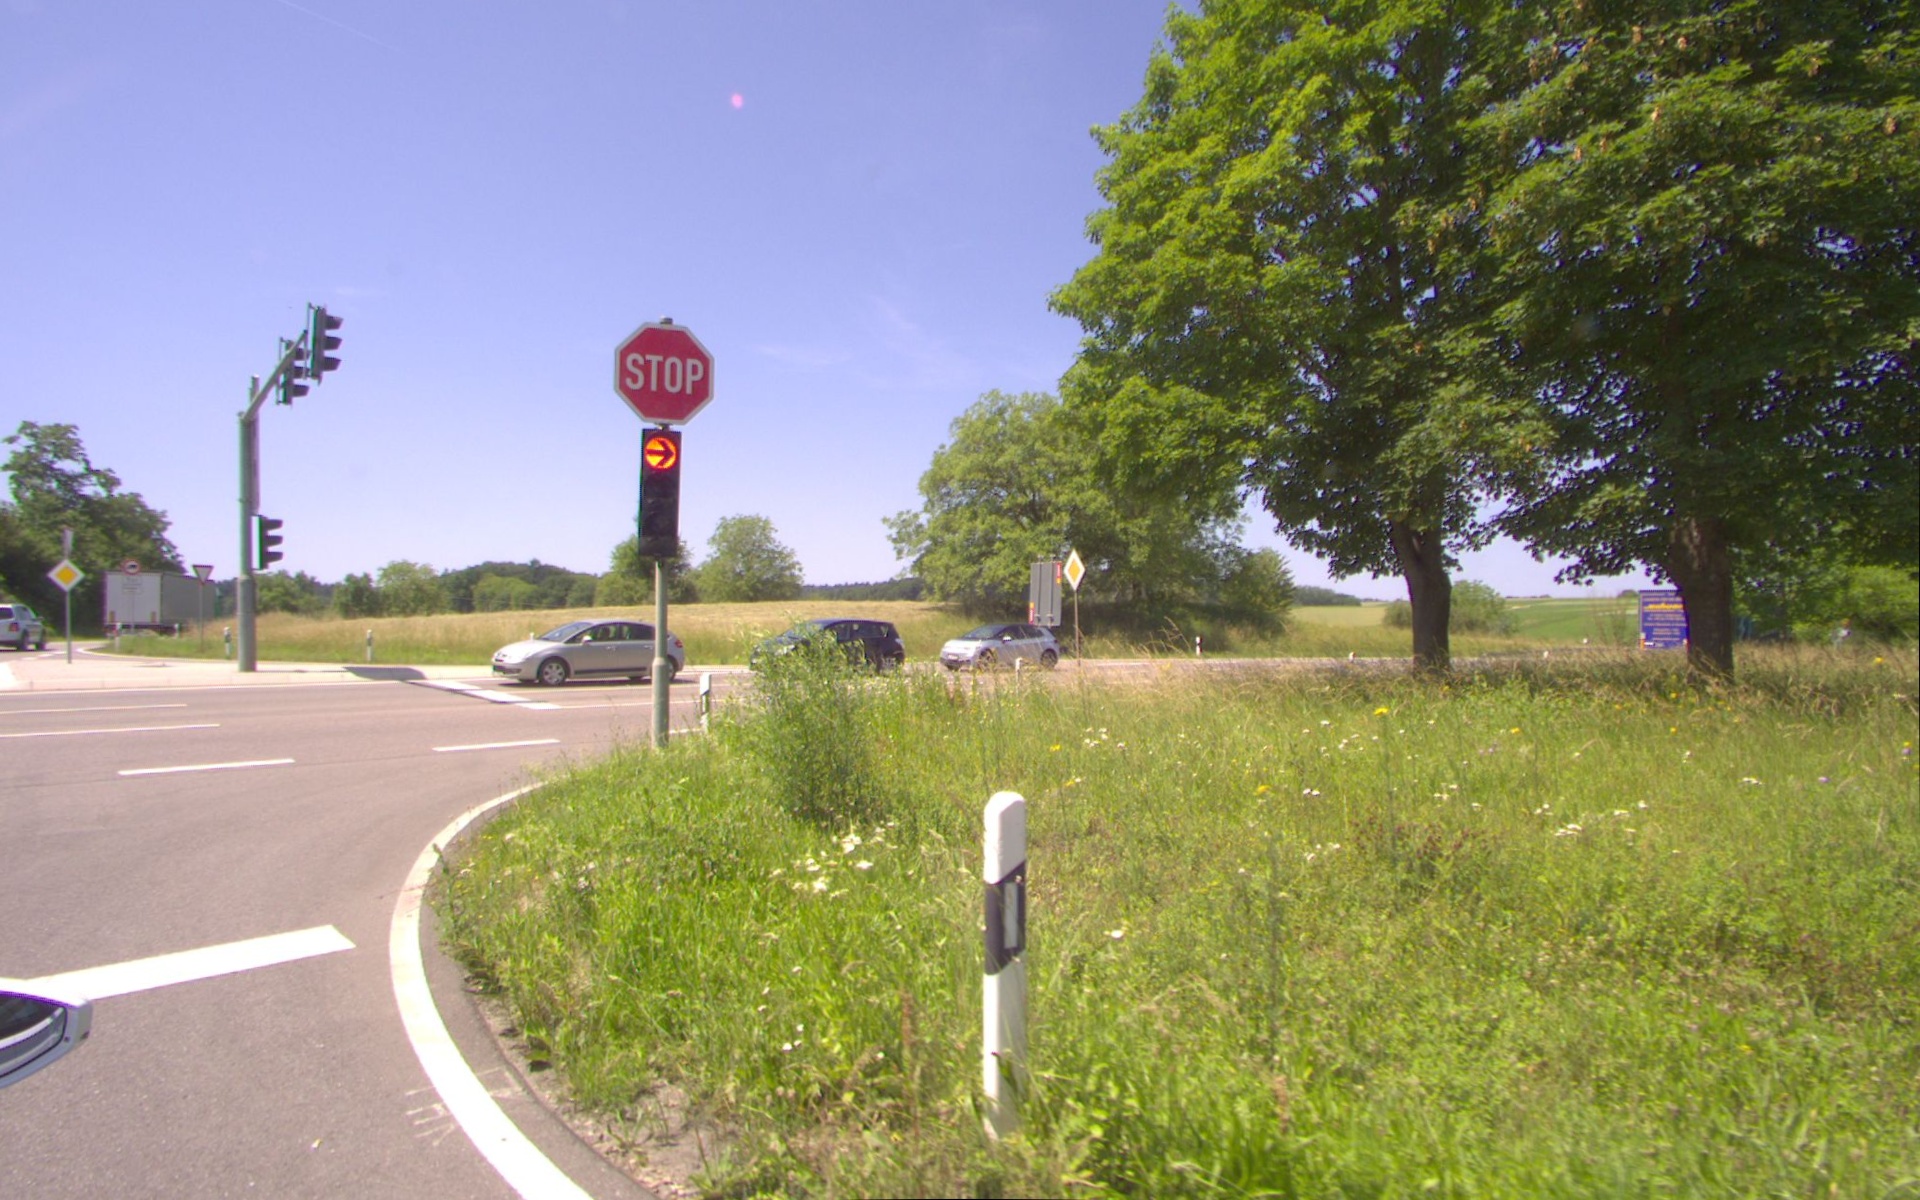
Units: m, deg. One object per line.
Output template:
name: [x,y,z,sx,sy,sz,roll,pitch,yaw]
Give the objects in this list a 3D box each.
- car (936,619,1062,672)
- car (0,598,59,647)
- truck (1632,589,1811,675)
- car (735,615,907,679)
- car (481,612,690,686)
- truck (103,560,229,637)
car: [1.295,1.456,32.373,3.977,1.573,1.640,2,0,-40]
car: [-33.959,0.775,35.848,1.793,1.646,4.036,0,0,-31]
truck: [41.774,1.766,54.538,16.599,4.185,2.832,2,-1,-35]
car: [-3.711,1.256,27.153,4.335,1.573,1.714,2,0,-40]
car: [-8.523,1.098,23.002,4.129,1.489,1.713,2,0,-43]
truck: [-49.399,0.071,62.915,3.089,4.226,16.611,1,-1,-28]
